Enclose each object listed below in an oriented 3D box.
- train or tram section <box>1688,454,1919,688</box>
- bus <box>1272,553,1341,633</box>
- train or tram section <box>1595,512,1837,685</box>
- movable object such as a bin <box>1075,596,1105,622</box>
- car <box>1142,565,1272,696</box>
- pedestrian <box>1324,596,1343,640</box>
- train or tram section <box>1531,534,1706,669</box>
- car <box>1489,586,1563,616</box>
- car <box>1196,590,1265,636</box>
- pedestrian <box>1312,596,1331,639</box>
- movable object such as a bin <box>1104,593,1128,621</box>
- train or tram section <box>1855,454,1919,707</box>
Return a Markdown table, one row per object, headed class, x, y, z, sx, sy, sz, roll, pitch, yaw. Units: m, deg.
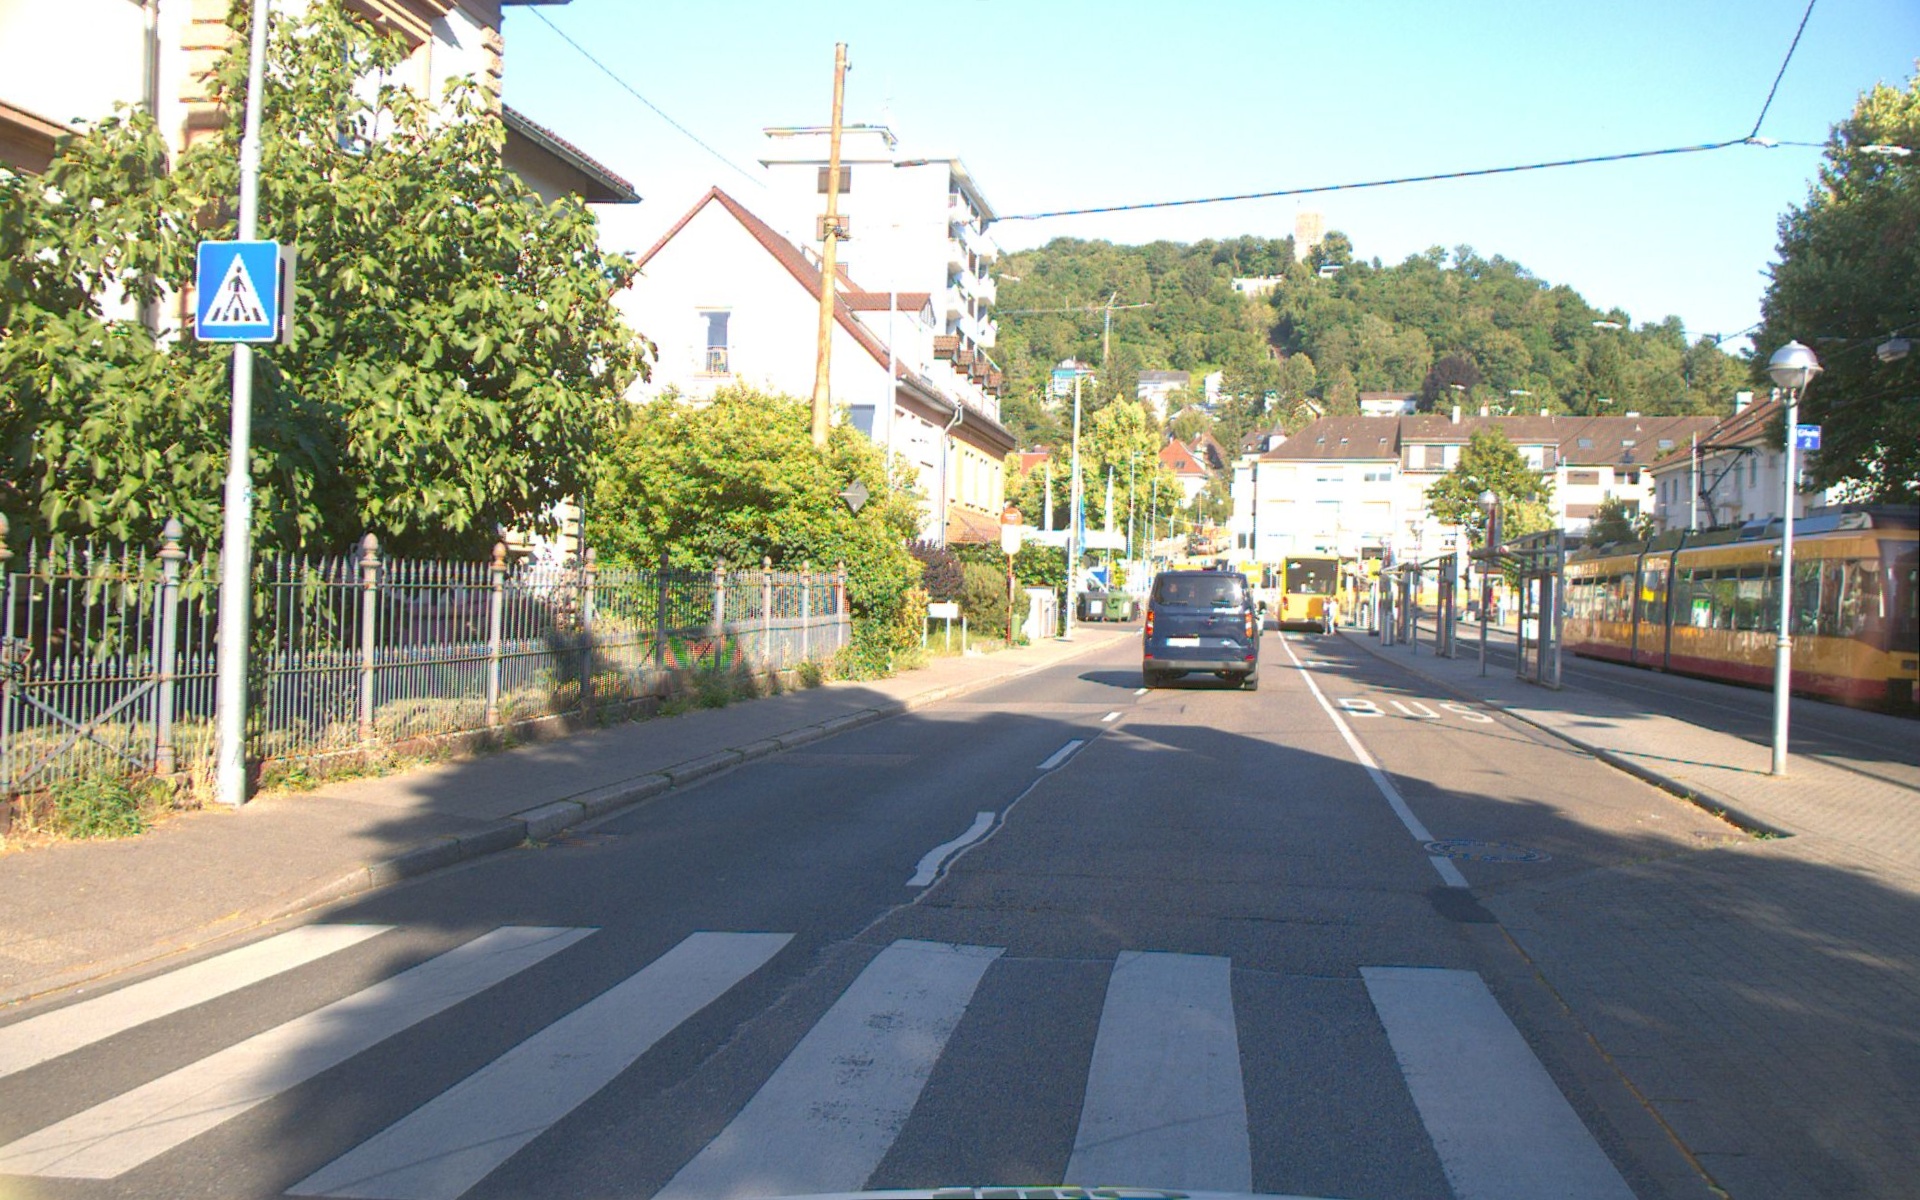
| class | x | y | z | sx | sy | sz | roll | pitch | yaw |
| --- | --- | --- | --- | --- | --- | --- | --- | --- | --- |
| train or tram section | 16.359 | -0.464 | 30.562 | 2.716 | 3.617 | 9.928 | 2 | 1 | 8 |
| bus | 15.824 | -0.266 | 76.060 | 2.647 | 3.348 | 10.219 | 2 | 0 | 10 |
| train or tram section | 18.077 | -0.076 | 40.364 | 2.716 | 3.617 | 9.928 | 2 | 1 | 9 |
| movable object such as a bin | 6.424 | 0.437 | 81.795 | 1.397 | 1.249 | 0.959 | 2 | 0 | -1 |
| car | 4.413 | 0.494 | 29.095 | 1.951 | 2.048 | 4.003 | 2 | 0 | 12 |
| pedestrian | 15.625 | 0.743 | 69.238 | 0.540 | 1.798 | 0.544 | 2 | -1 | -42 |
| train or tram section | 19.684 | -0.005 | 50.147 | 2.716 | 3.617 | 9.928 | 2 | 1 | 9 |
| car | 42.749 | 0.070 | 124.986 | 5.102 | 2.049 | 2.001 | 2 | 0 | 14 |
| car | 10.963 | 0.532 | 67.252 | 1.953 | 1.747 | 3.998 | 2 | 0 | -2 |
| pedestrian | 15.217 | 0.732 | 69.672 | 0.540 | 1.798 | 0.544 | 2 | -1 | -42 |
| movable object such as a bin | 7.738 | 0.354 | 82.005 | 1.014 | 1.326 | 0.959 | 2 | 0 | -1 |
| train or tram section | 14.680 | -0.221 | 20.794 | 2.716 | 3.617 | 9.928 | 2 | 1 | 8 |
